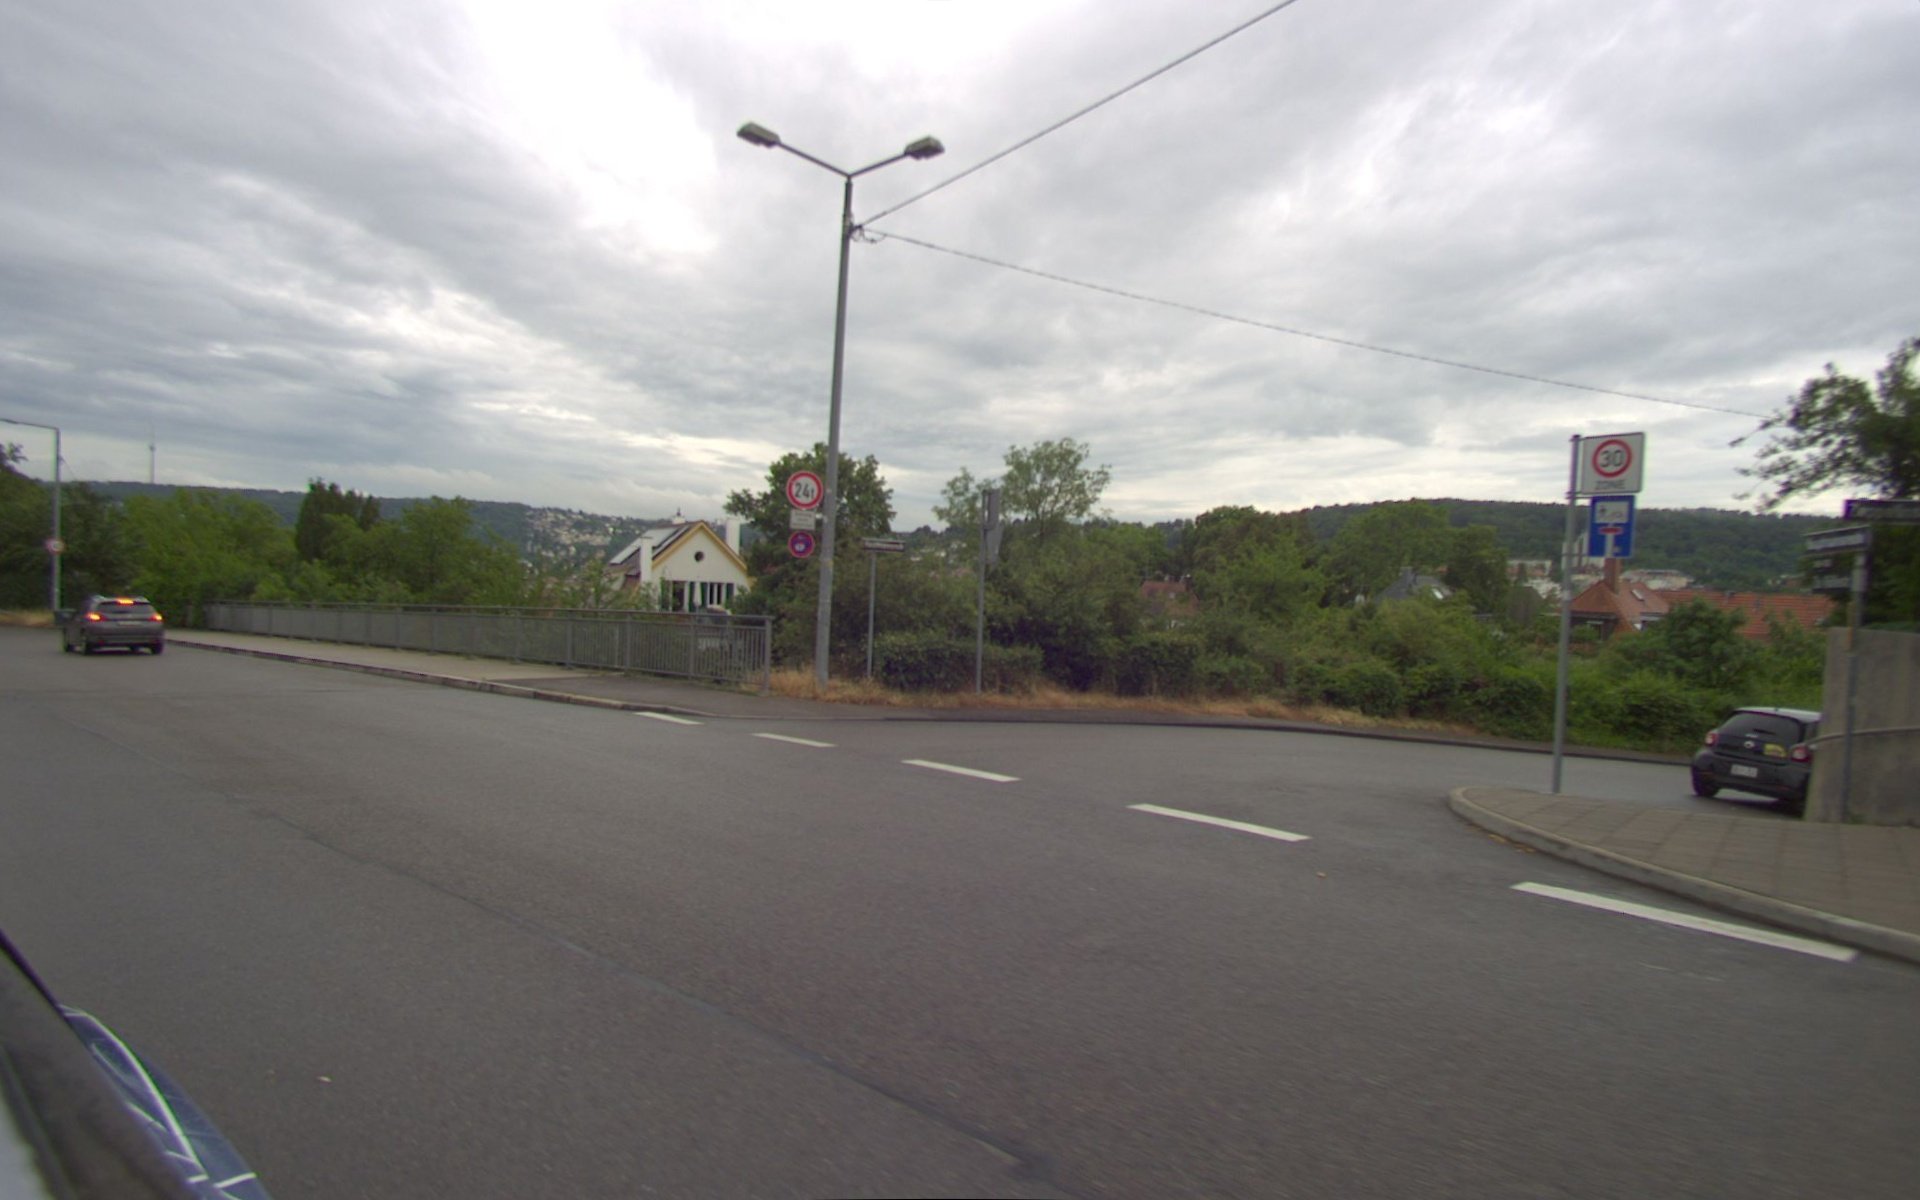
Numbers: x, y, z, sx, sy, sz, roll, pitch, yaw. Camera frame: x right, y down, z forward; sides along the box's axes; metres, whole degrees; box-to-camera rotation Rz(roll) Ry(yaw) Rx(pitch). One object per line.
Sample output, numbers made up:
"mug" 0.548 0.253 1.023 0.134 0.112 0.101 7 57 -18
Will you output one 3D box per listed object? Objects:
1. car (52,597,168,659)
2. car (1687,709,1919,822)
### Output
"car" -23.316 0.738 27.727 3.996 1.557 1.716 1 -1 40
"car" 13.458 2.590 15.770 3.931 1.280 1.659 7 0 -25
